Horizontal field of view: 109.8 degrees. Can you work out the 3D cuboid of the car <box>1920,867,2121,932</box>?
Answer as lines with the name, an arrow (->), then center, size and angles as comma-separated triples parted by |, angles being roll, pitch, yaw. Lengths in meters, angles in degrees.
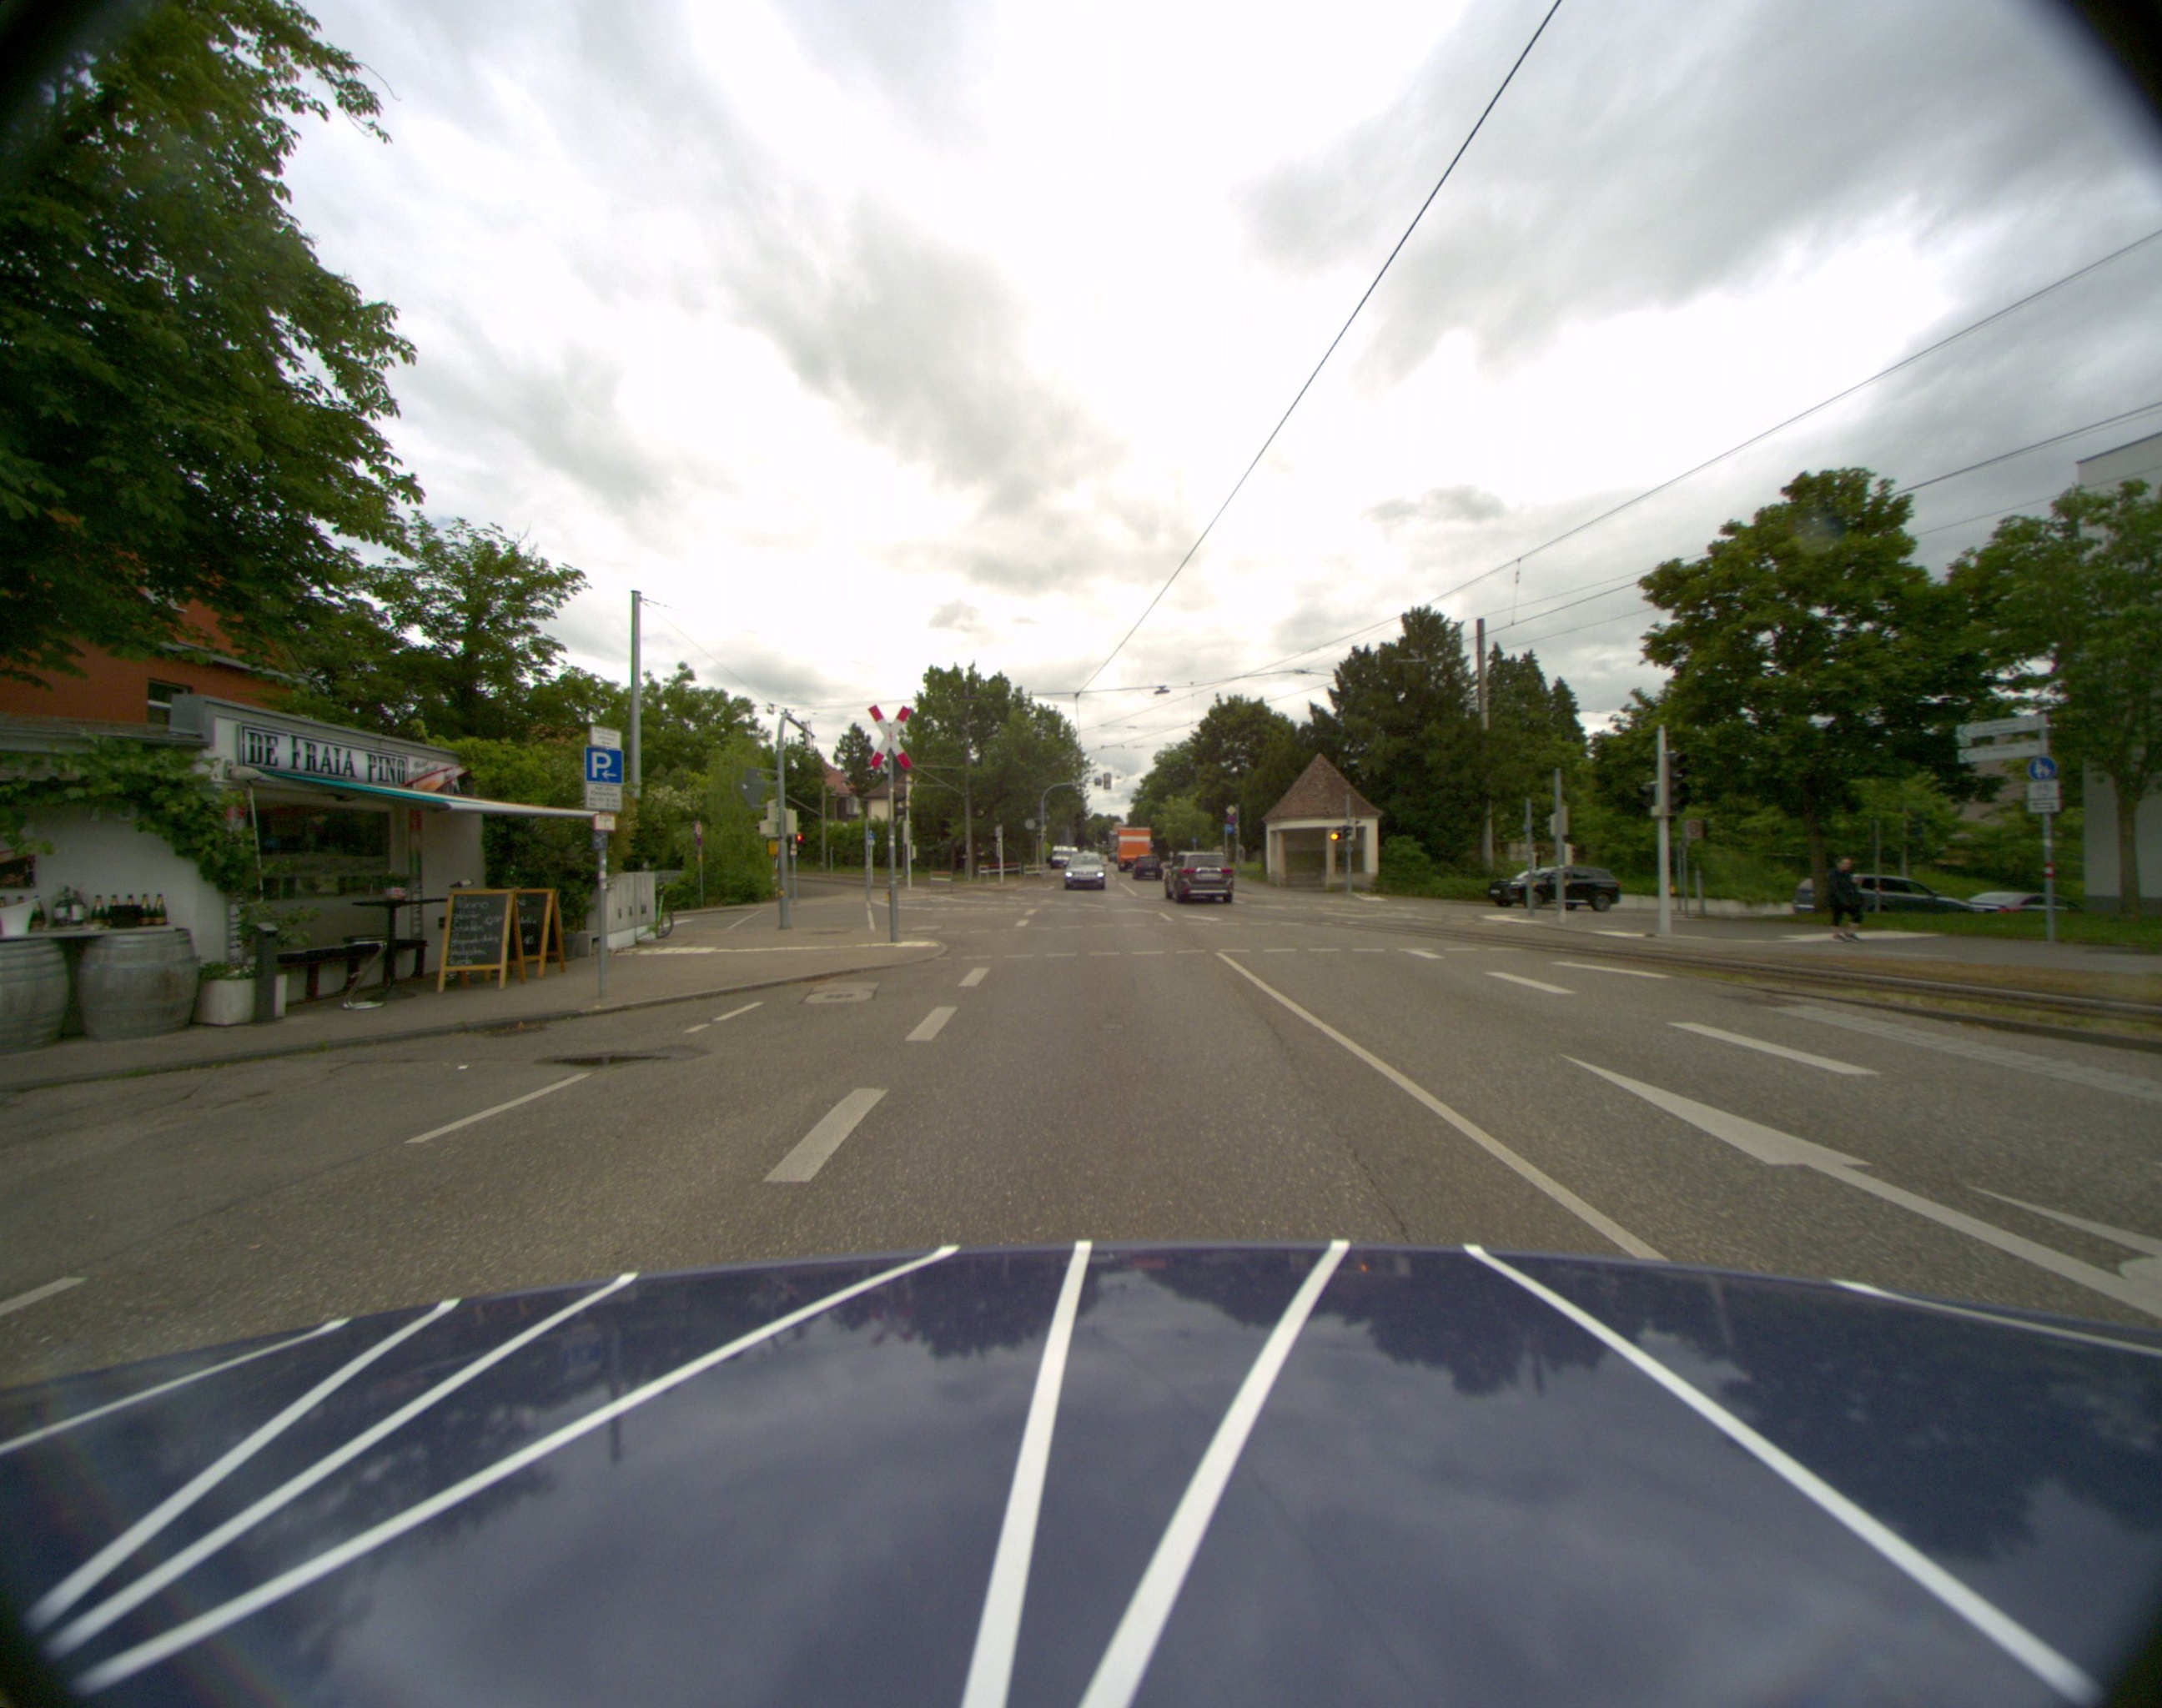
car -> 31.031, 1.478, 25.182 | 4.468, 2.002, 1.999 | 1, 0, -5

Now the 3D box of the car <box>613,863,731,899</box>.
car -> -19.691, 1.271, 36.723 | 4.517, 1.455, 1.999 | -2, 1, -4

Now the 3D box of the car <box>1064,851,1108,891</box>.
car -> 0.169, 0.732, 35.588 | 1.835, 1.610, 4.487 | -3, 1, -2

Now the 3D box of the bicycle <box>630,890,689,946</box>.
bicycle -> -9.173, 1.372, 16.608 | 0.550, 1.132, 1.877 | -2, -3, -11

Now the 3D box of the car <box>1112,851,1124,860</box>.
car -> 6.322, 0.290, 130.548 | 1.943, 1.522, 4.526 | 1, 0, 1

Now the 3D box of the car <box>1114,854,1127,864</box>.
car -> 5.697, 0.737, 110.525 | 1.668, 1.440, 3.827 | -1, 0, 1

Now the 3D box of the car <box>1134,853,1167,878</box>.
car -> 4.257, 0.669, 47.294 | 1.679, 1.497, 3.733 | 1, 0, 0

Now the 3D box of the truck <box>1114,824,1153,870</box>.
truck -> 4.438, -0.597, 65.879 | 2.776, 3.697, 8.467 | 1, 1, 0

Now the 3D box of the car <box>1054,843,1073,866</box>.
car -> -1.995, 0.024, 87.906 | 2.095, 2.589, 6.680 | -1, 0, -1

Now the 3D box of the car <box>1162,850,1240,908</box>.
car -> 3.904, 0.753, 25.503 | 1.835, 1.660, 4.488 | -4, 1, 1

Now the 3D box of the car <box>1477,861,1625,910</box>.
car -> 17.848, 1.171, 28.950 | 4.487, 1.660, 1.965 | 2, 0, -6

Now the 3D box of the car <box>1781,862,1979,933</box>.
car -> 25.749, 1.362, 24.587 | 4.468, 2.002, 1.999 | 3, 0, -5

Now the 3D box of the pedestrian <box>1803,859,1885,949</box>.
pedestrian -> 14.234, 0.922, 14.202 | 0.677, 1.634, 0.819 | 0, -1, -4

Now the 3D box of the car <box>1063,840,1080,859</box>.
car -> -1.298, -0.656, 104.876 | 2.046, 2.588, 5.966 | -1, 1, 1
